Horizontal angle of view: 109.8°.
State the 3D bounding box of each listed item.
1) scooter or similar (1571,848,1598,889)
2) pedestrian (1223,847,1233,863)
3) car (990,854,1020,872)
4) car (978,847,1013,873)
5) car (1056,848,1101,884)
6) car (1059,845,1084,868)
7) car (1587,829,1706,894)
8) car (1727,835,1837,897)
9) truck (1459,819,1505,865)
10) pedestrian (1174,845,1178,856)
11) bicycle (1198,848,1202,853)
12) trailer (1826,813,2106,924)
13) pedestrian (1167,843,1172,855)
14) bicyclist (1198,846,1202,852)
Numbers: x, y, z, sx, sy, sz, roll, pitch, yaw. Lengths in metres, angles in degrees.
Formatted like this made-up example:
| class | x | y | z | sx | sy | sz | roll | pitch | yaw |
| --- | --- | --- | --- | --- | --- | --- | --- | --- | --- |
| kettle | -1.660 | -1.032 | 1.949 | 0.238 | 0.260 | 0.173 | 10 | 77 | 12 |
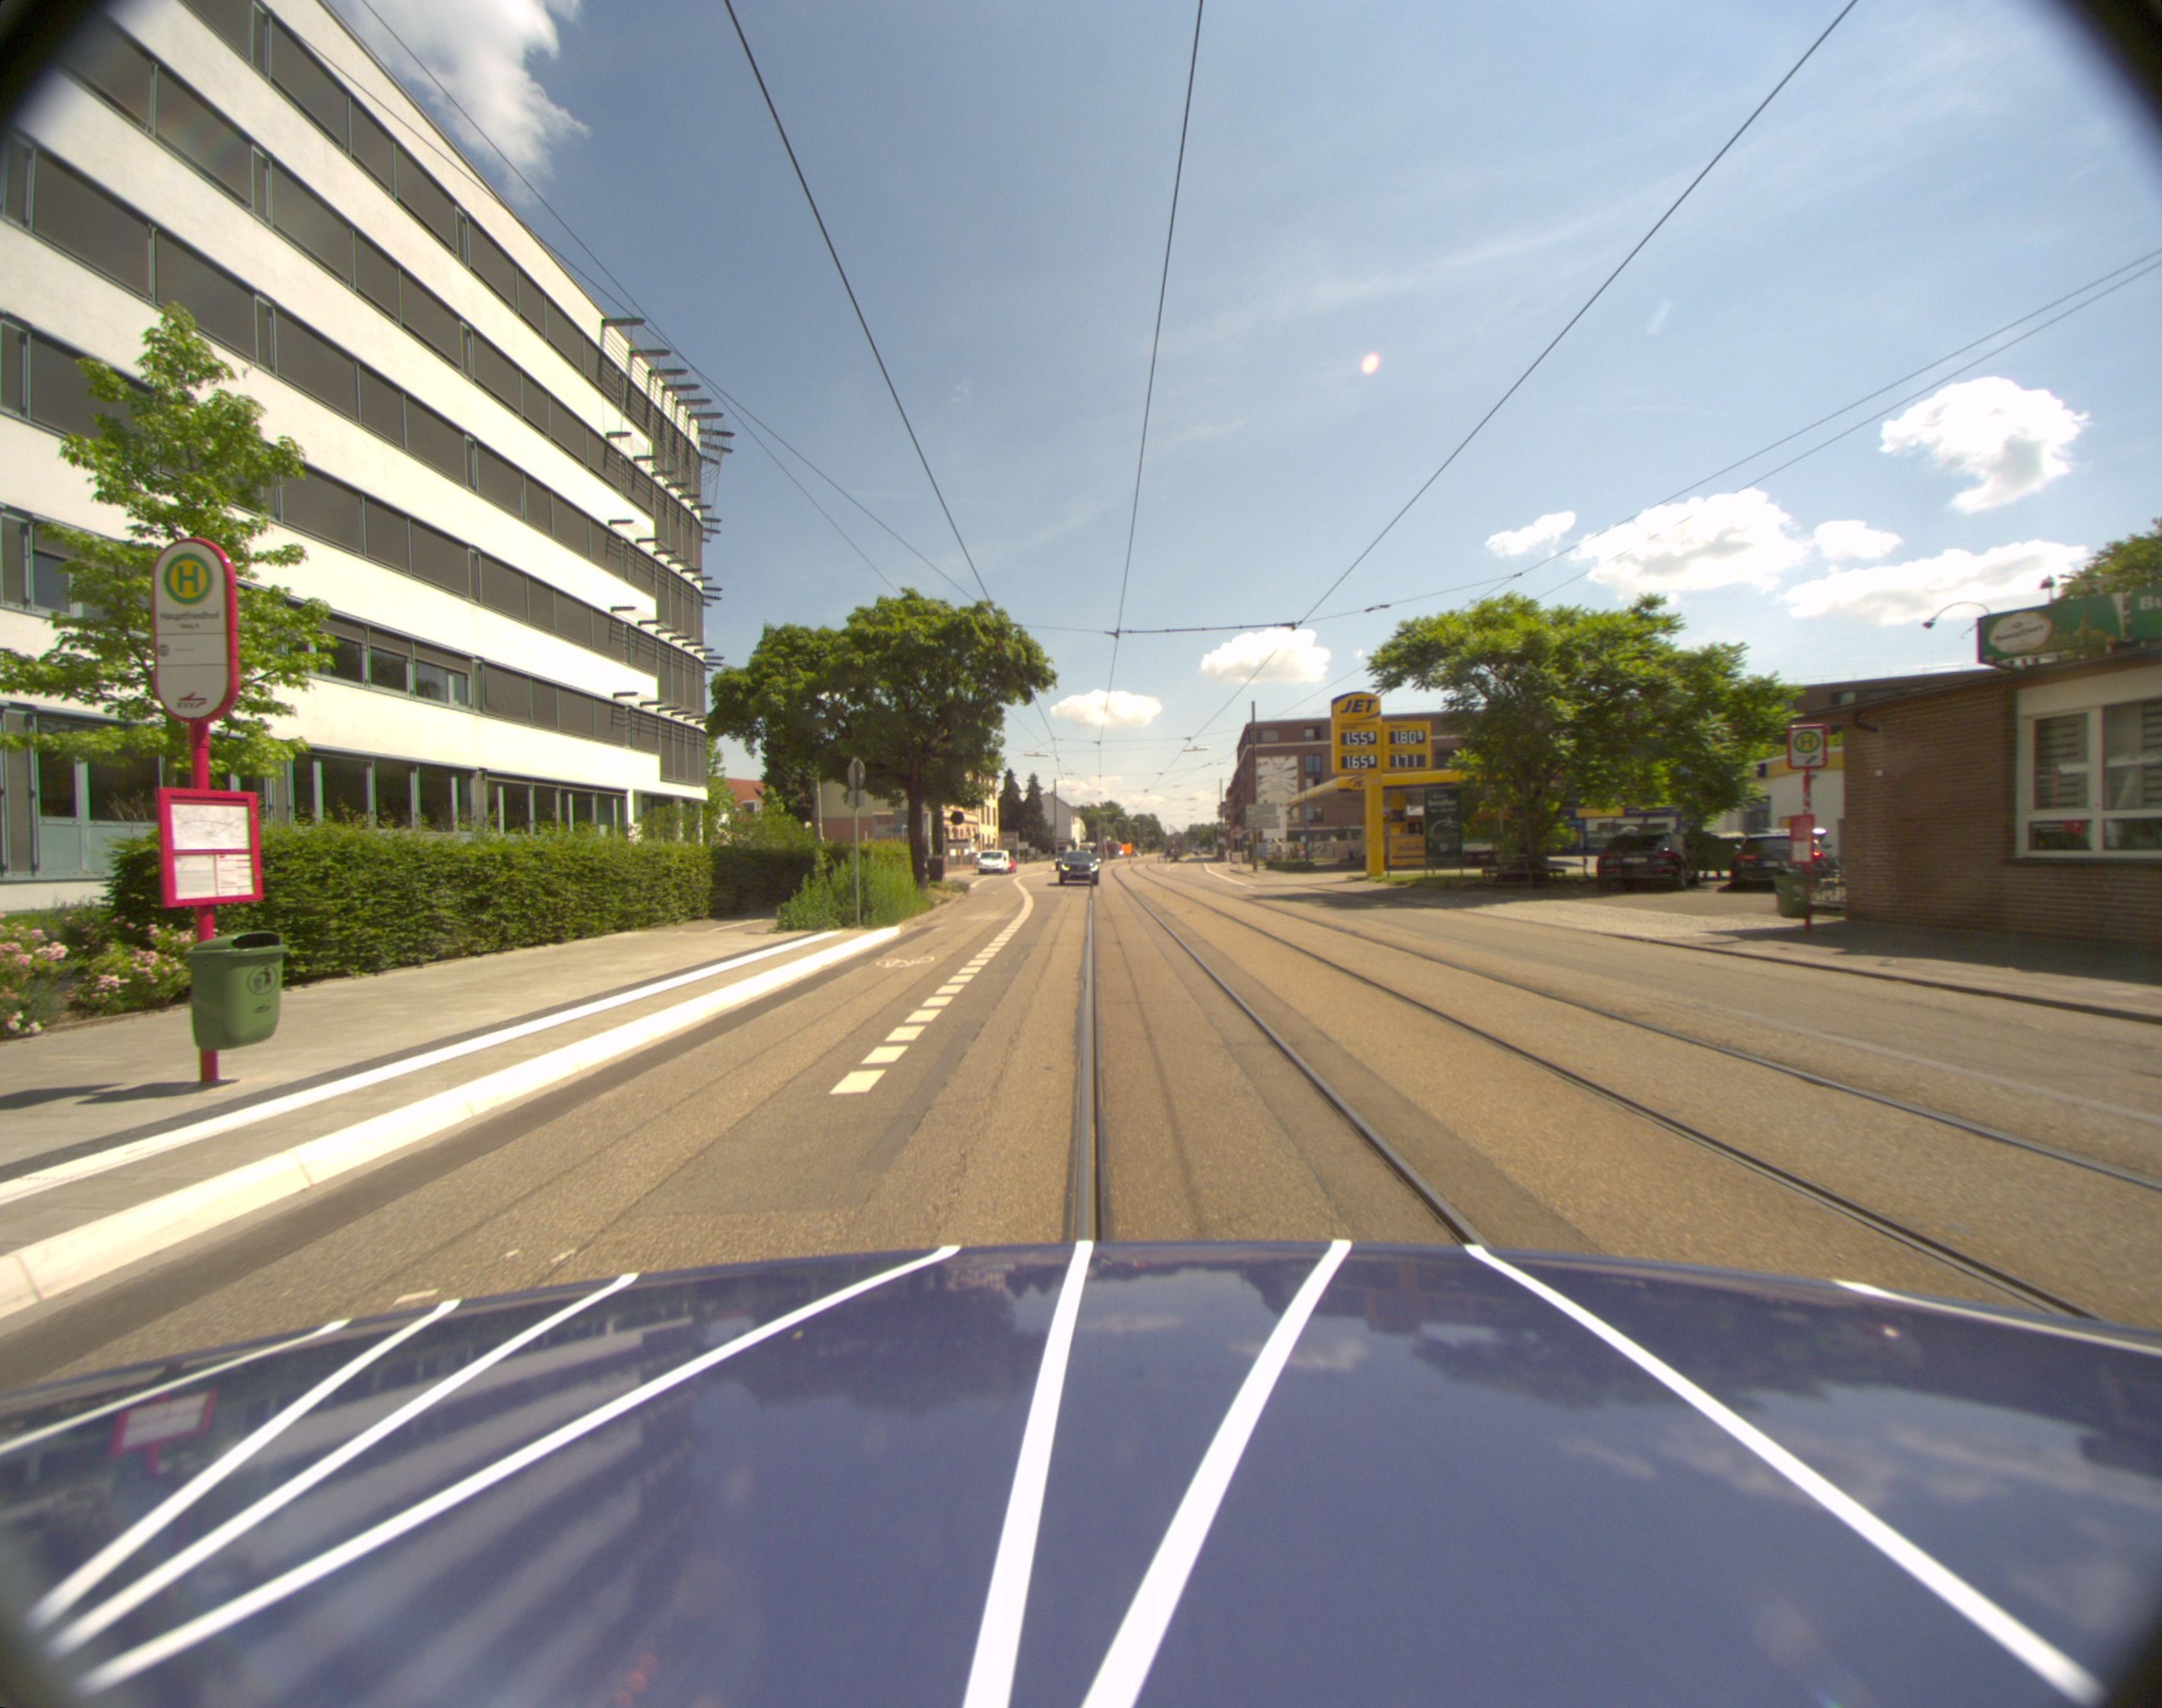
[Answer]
| class | x | y | z | sx | sy | sz | roll | pitch | yaw |
| --- | --- | --- | --- | --- | --- | --- | --- | --- | --- |
| scooter or similar | 15.276 | 0.427 | 23.039 | 0.405 | 1.167 | 1.363 | -1 | 1 | 45 |
| pedestrian | 15.180 | 0.113 | 78.562 | 0.762 | 1.586 | 1.000 | -5 | 0 | 4 |
| car | -6.583 | 0.765 | 66.325 | 1.998 | 1.433 | 4.017 | -2 | 0 | 2 |
| car | -6.726 | 0.459 | 60.210 | 1.998 | 1.980 | 5.514 | 1 | 0 | 1 |
| car | -0.038 | 0.537 | 36.045 | 1.845 | 1.565 | 4.488 | -1 | 1 | 3 |
| car | -0.824 | 0.184 | 68.704 | 1.998 | 2.002 | 4.001 | -1 | 1 | 3 |
| car | 15.692 | 0.151 | 20.986 | 4.342 | 1.581 | 1.994 | -2 | 1 | -45 |
| car | 18.084 | 0.253 | 19.663 | 1.905 | 1.387 | 4.342 | -1 | 1 | 43 |
| truck | 23.407 | -0.710 | 44.301 | 1.995 | 2.483 | 5.213 | -1 | 1 | 32 |
| pedestrian | 15.735 | -0.598 | 125.965 | 0.761 | 1.685 | 0.809 | 0 | 1 | 8 |
| bicycle | 29.680 | -0.903 | 189.573 | 0.818 | 1.215 | 2.390 | 0 | 0 | 5 |
| trailer | 14.967 | 0.232 | 12.983 | 2.837 | 1.694 | 1.621 | -2 | 1 | 2 |
| pedestrian | 12.792 | -0.718 | 109.940 | 0.686 | 1.750 | 1.034 | 0 | 1 | 8 |
| bicyclist | 29.640 | -1.276 | 189.712 | 0.760 | 1.495 | 1.065 | -1 | 1 | 3 |
